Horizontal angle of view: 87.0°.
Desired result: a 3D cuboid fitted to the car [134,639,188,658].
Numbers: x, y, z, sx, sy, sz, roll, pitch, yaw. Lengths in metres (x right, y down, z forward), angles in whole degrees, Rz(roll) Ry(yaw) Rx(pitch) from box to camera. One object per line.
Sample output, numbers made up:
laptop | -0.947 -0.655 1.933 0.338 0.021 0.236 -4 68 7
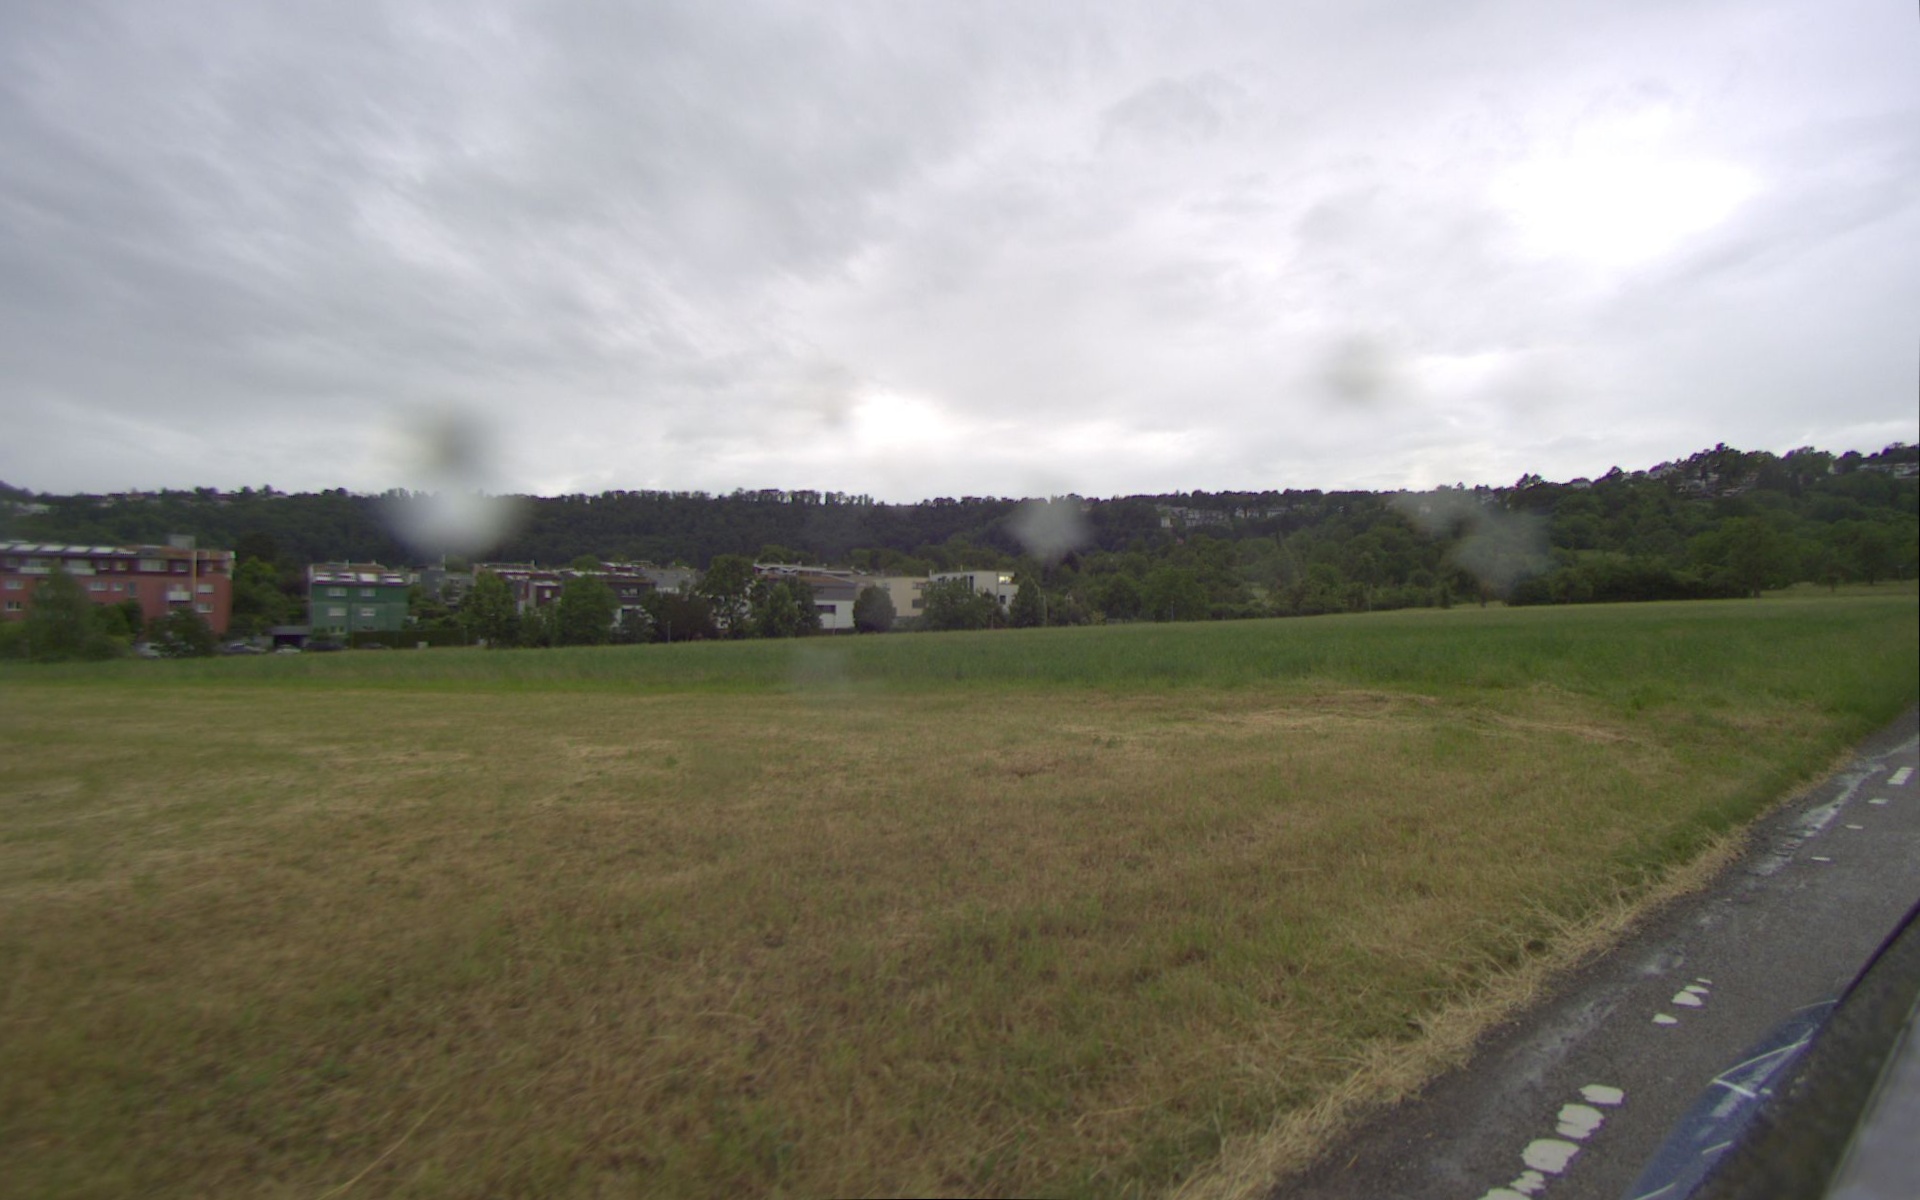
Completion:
car | -101.805 6.133 129.063 5.178 2.039 2.001 -2 1 -33
